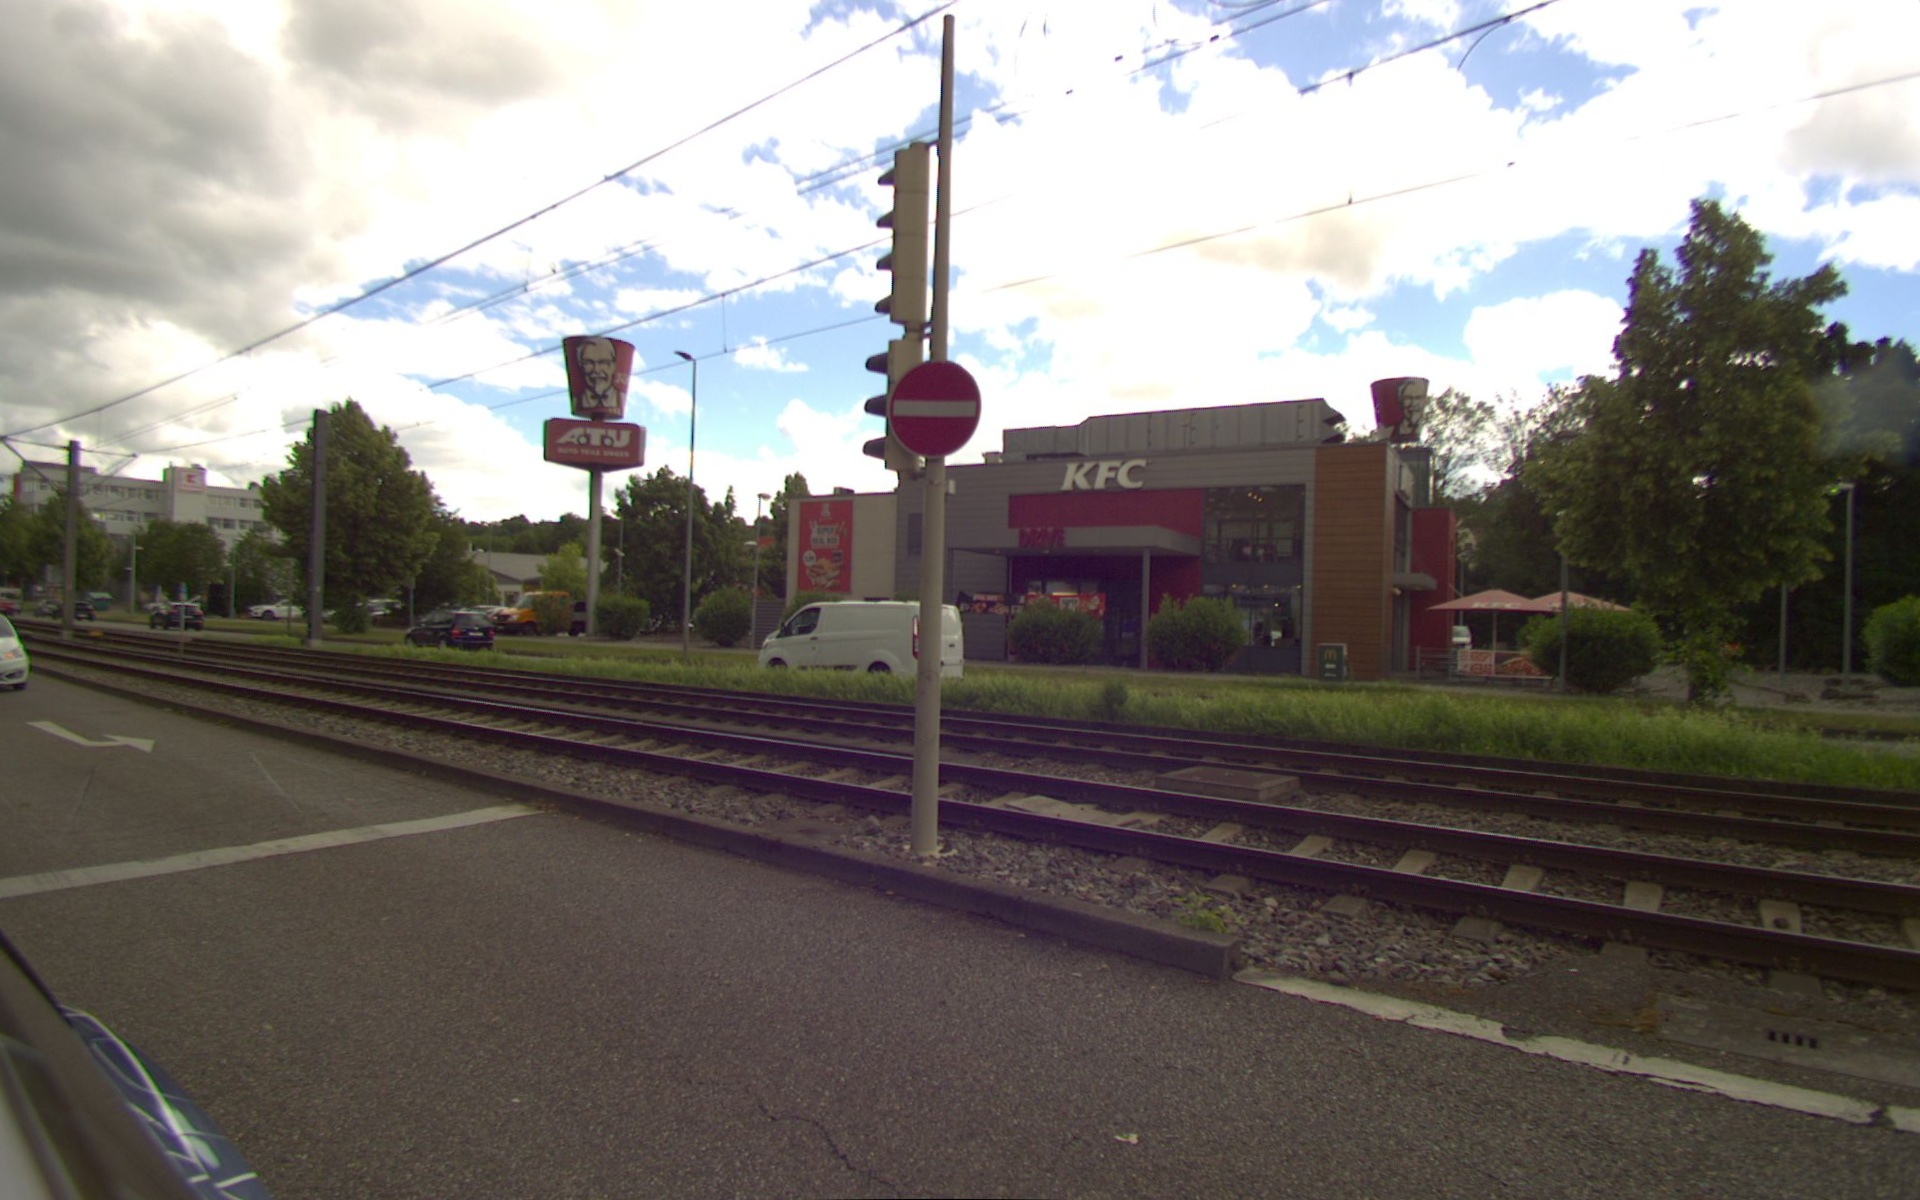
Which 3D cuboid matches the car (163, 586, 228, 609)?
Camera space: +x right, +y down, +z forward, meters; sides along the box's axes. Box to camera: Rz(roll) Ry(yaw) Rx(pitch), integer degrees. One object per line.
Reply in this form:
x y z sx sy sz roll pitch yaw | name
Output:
-66.926 -0.279 88.630 2.000 1.933 4.298 1 1 42 | car

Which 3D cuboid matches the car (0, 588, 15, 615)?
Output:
-95.098 0.089 99.728 5.992 2.518 1.851 1 -3 39 | car

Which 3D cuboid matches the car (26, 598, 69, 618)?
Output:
-76.109 0.668 84.417 3.995 1.494 1.974 1 -3 39 | car

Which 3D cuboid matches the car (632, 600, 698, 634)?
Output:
-18.984 1.075 65.308 1.949 2.029 3.694 1 1 37 | car

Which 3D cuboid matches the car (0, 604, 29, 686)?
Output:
-19.269 0.817 19.166 3.994 1.455 1.765 1 1 38 | car

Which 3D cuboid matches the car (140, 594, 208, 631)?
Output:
-46.003 0.708 59.199 4.238 2.029 1.976 1 -1 36 | car

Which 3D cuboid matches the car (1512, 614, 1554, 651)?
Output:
33.207 1.875 58.729 1.991 2.029 3.962 0 -1 28 | car

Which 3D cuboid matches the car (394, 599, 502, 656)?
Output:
-19.573 1.026 38.664 4.098 2.029 1.976 1 -1 36 | car

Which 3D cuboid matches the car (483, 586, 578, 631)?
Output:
-21.720 0.390 51.318 2.056 2.182 3.948 1 1 39 | car

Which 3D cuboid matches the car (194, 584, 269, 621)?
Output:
-59.461 0.205 82.649 2.286 2.769 4.425 1 -2 39 | car

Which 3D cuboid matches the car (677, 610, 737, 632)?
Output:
-17.746 1.505 71.136 1.949 1.400 3.693 1 -2 37 | car

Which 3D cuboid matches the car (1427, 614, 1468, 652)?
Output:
27.887 1.868 57.834 1.991 2.029 3.962 0 -1 28 | car

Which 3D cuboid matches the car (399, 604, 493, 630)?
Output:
-29.585 0.942 58.337 2.193 1.364 4.331 1 1 39 | car

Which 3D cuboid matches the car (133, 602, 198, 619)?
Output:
-74.179 0.947 94.565 2.000 1.504 4.551 1 1 42 | car

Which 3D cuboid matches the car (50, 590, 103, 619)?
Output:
-65.184 0.322 74.635 3.991 2.029 1.976 1 -3 36 | car

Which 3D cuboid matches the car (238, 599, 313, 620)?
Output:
-52.146 0.687 77.189 1.792 1.518 4.430 1 1 36 | car

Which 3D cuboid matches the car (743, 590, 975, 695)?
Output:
-2.263 0.859 22.110 4.872 2.029 1.977 1 -2 34 | car

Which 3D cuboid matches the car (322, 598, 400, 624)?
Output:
-38.944 0.693 65.832 1.935 1.518 3.948 1 1 39 | car

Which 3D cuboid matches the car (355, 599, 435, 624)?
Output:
-35.151 0.695 63.008 1.935 1.431 3.948 1 1 39 | car

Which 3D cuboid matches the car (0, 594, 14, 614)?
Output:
-80.032 0.303 83.674 4.474 1.594 1.767 1 -2 36 | car

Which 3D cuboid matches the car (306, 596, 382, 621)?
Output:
-41.126 0.549 67.617 2.000 1.518 3.948 1 1 39 | car
